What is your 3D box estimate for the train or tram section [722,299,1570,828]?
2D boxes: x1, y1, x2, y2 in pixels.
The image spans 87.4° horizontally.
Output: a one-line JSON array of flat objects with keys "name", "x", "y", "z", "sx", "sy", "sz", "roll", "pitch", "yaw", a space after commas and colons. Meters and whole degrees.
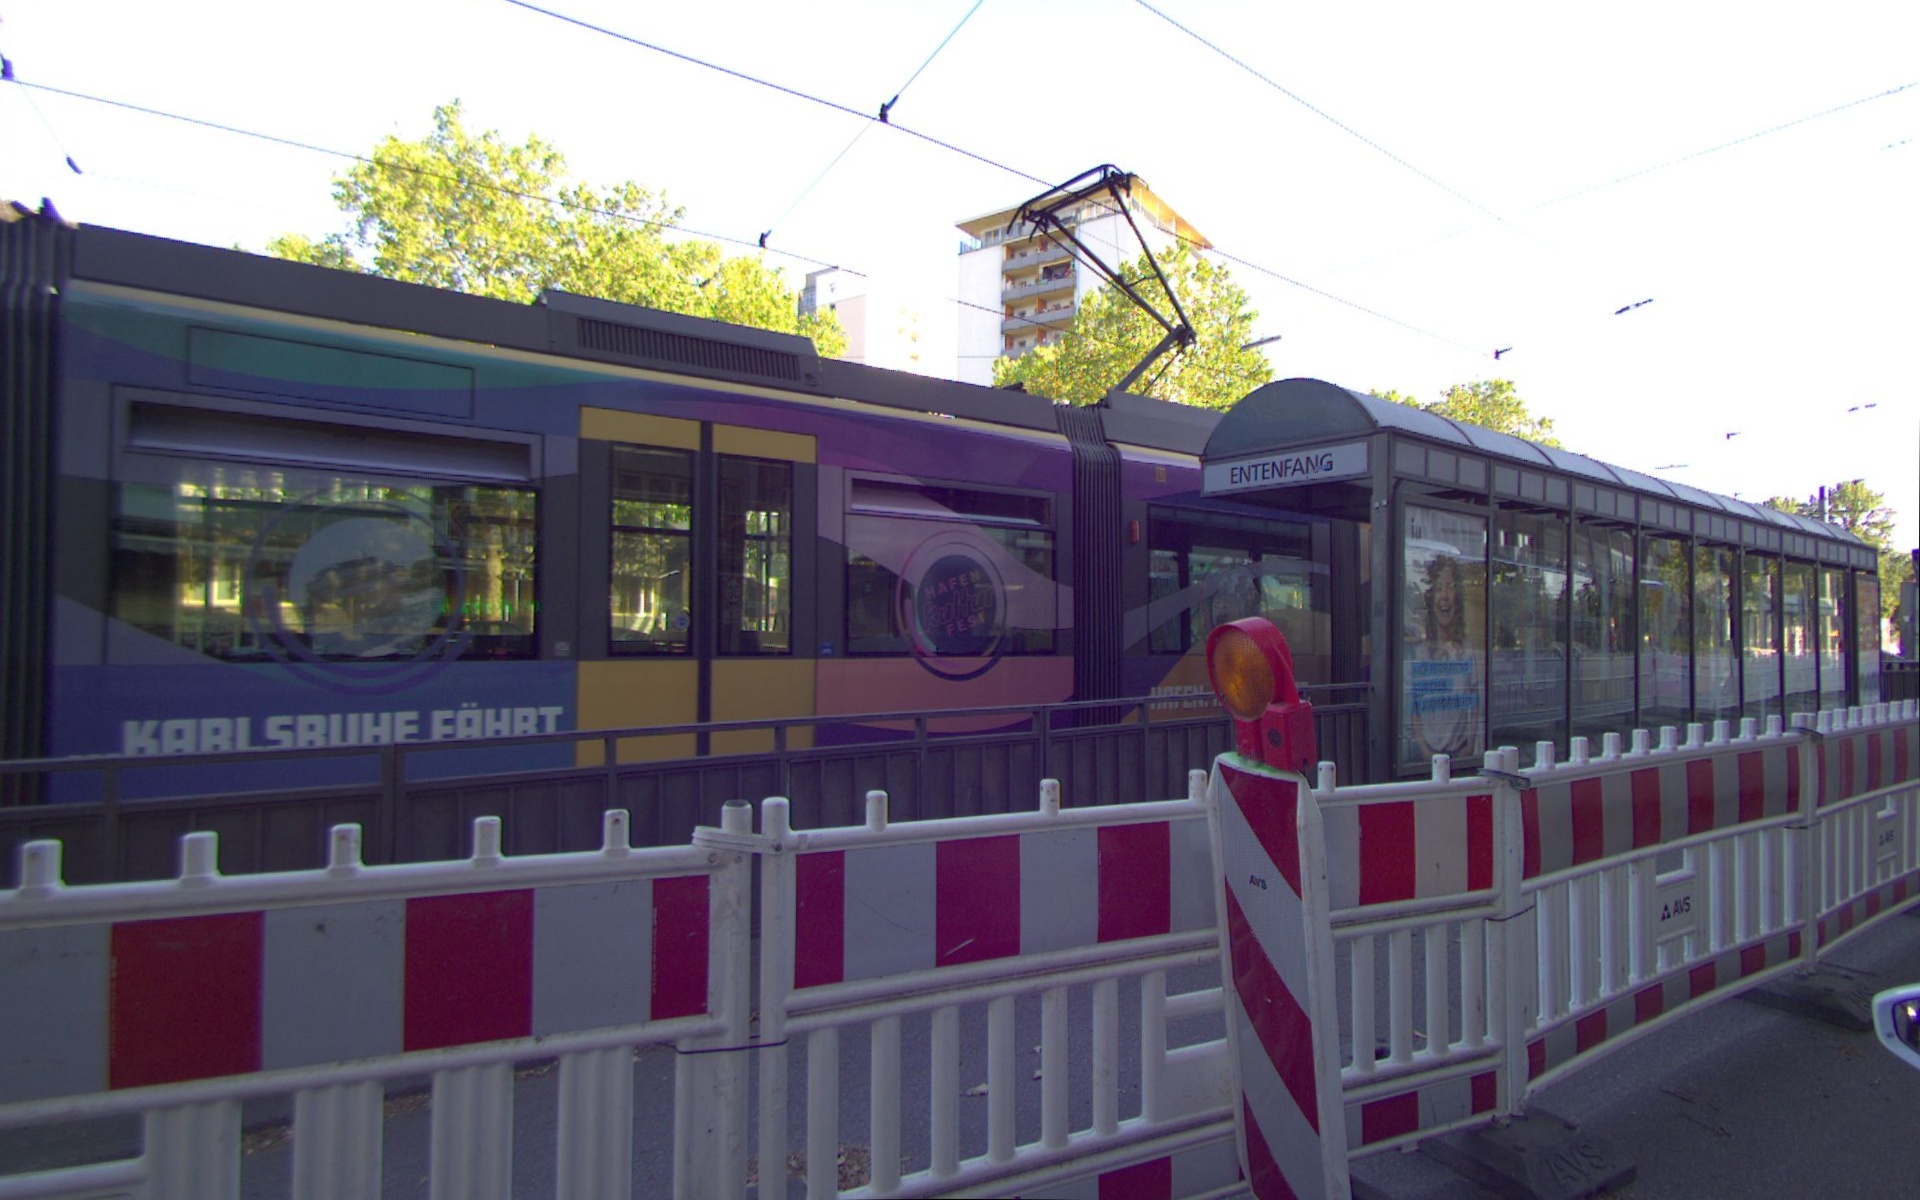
[{"name": "train or tram section", "x": 2.828, "y": -0.100, "z": 10.903, "sx": 10.240, "sy": 3.533, "sz": 2.816, "roll": 2, "pitch": -1, "yaw": -36}]

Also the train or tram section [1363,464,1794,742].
[{"name": "train or tram section", "x": 10.920, "y": 0.190, "z": 17.033, "sx": 10.245, "sy": 3.533, "sz": 2.795, "roll": 2, "pitch": -1, "yaw": -38}]

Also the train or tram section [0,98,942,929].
[{"name": "train or tram section", "x": -5.251, "y": -0.368, "z": 5.240, "sx": 10.216, "sy": 3.533, "sz": 2.857, "roll": 2, "pitch": -1, "yaw": -30}]
